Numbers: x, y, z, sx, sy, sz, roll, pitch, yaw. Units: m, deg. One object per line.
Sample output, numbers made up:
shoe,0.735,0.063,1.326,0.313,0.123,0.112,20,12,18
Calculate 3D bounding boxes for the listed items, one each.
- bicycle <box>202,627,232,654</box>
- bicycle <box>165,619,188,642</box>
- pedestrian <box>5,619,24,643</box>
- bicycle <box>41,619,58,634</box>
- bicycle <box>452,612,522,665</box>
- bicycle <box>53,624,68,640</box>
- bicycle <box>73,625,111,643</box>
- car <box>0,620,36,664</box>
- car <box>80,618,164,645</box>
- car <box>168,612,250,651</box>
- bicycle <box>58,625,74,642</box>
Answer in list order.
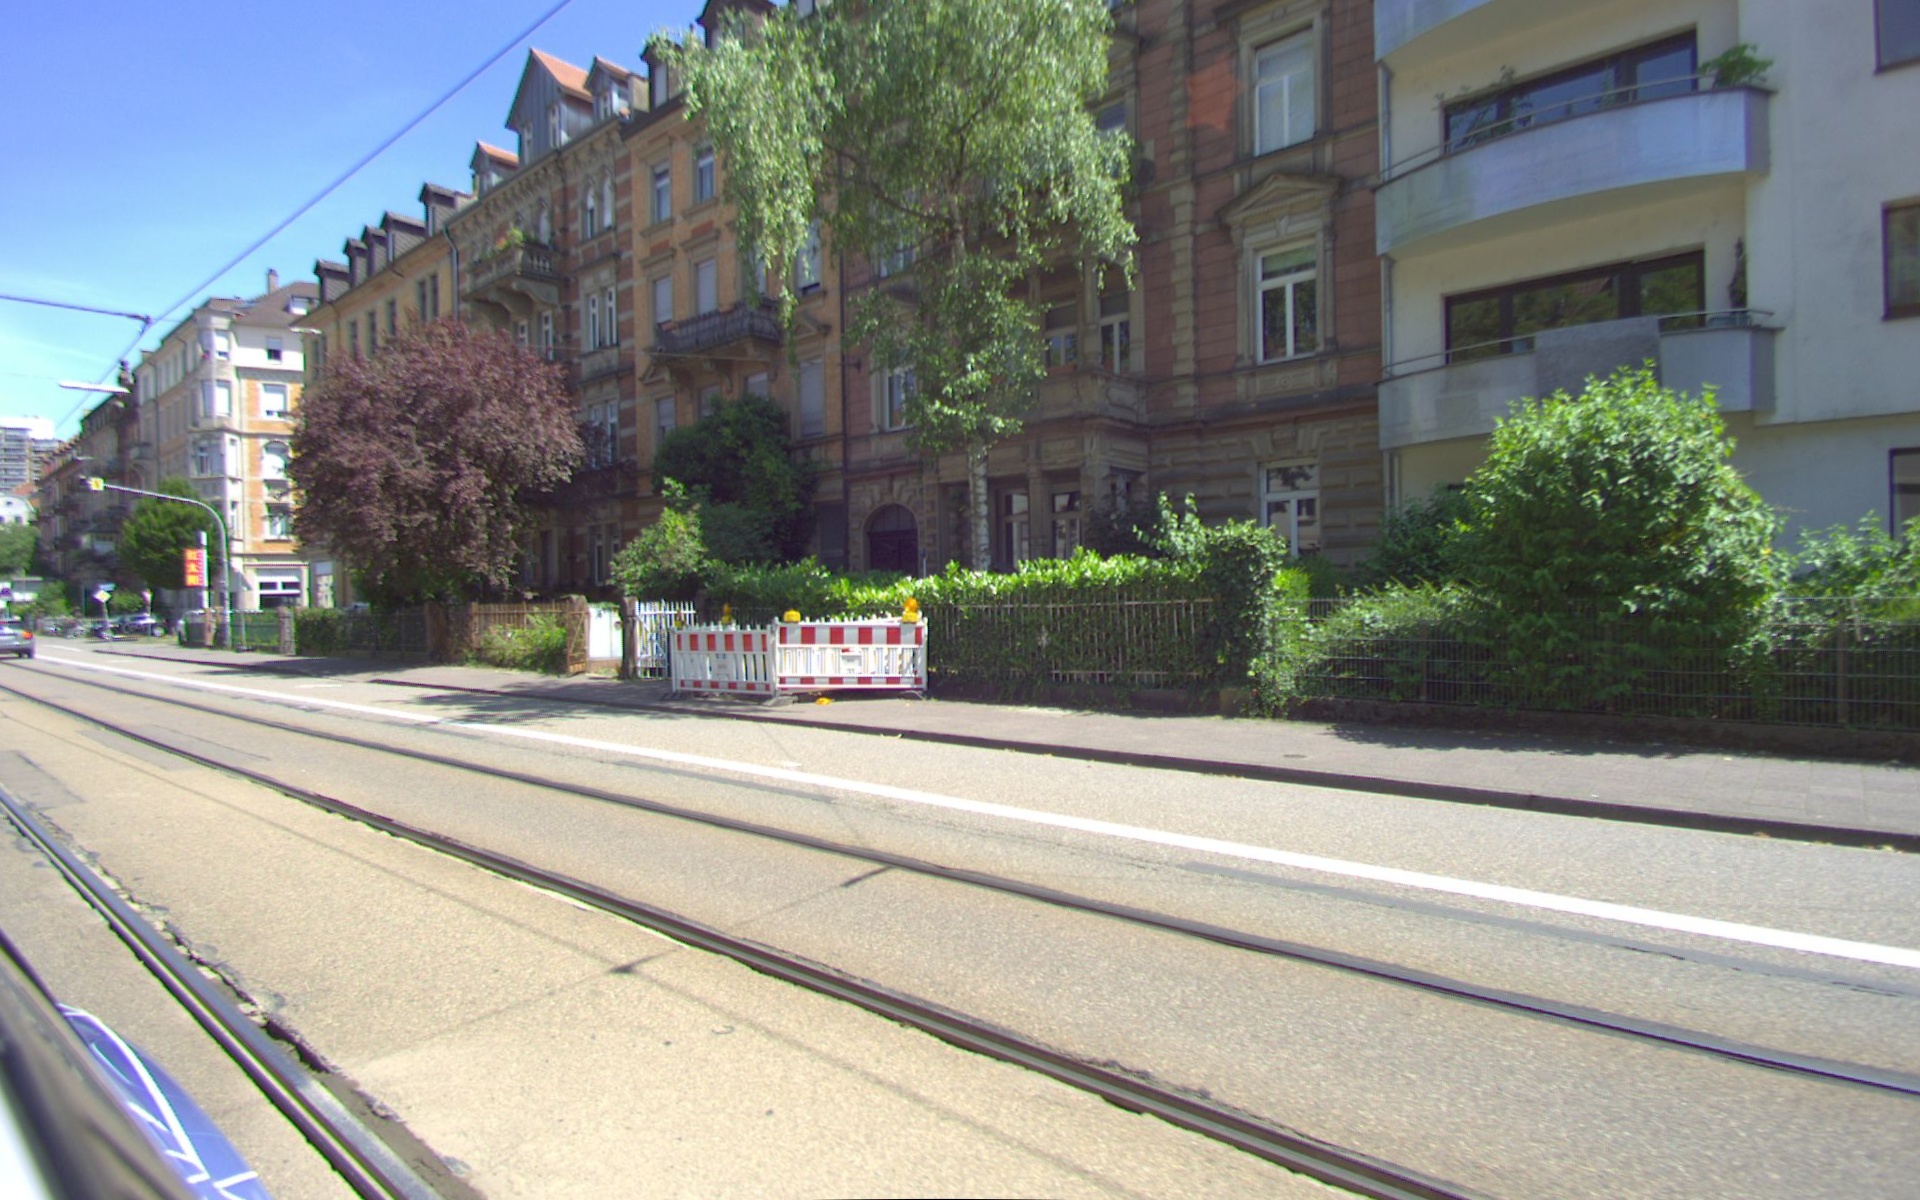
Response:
bicycle,-28.715,1.547,39.082,1.804,1.011,0.449,-1,0,38
bicycle,-45.067,1.734,58.237,0.493,1.237,1.856,-1,2,-21
pedestrian,-71.420,2.359,76.433,1.138,1.735,0.842,-1,2,42
bicycle,-60.373,1.759,67.100,1.709,0.994,0.492,-2,4,40
bicycle,-12.274,0.990,26.306,0.507,1.196,1.599,-2,3,28
bicycle,-56.556,2.029,63.644,1.709,0.991,0.434,-2,0,40
bicycle,-53.284,2.066,62.126,1.685,1.044,0.551,-2,0,-45
car,-34.500,1.493,36.246,3.746,1.465,1.669,-1,0,41
car,-51.057,1.872,61.708,1.713,1.439,3.720,0,1,41
car,-34.414,1.419,46.354,4.094,1.612,1.849,-1,1,36
bicycle,-55.032,2.051,62.284,1.709,0.991,0.434,-2,0,40
